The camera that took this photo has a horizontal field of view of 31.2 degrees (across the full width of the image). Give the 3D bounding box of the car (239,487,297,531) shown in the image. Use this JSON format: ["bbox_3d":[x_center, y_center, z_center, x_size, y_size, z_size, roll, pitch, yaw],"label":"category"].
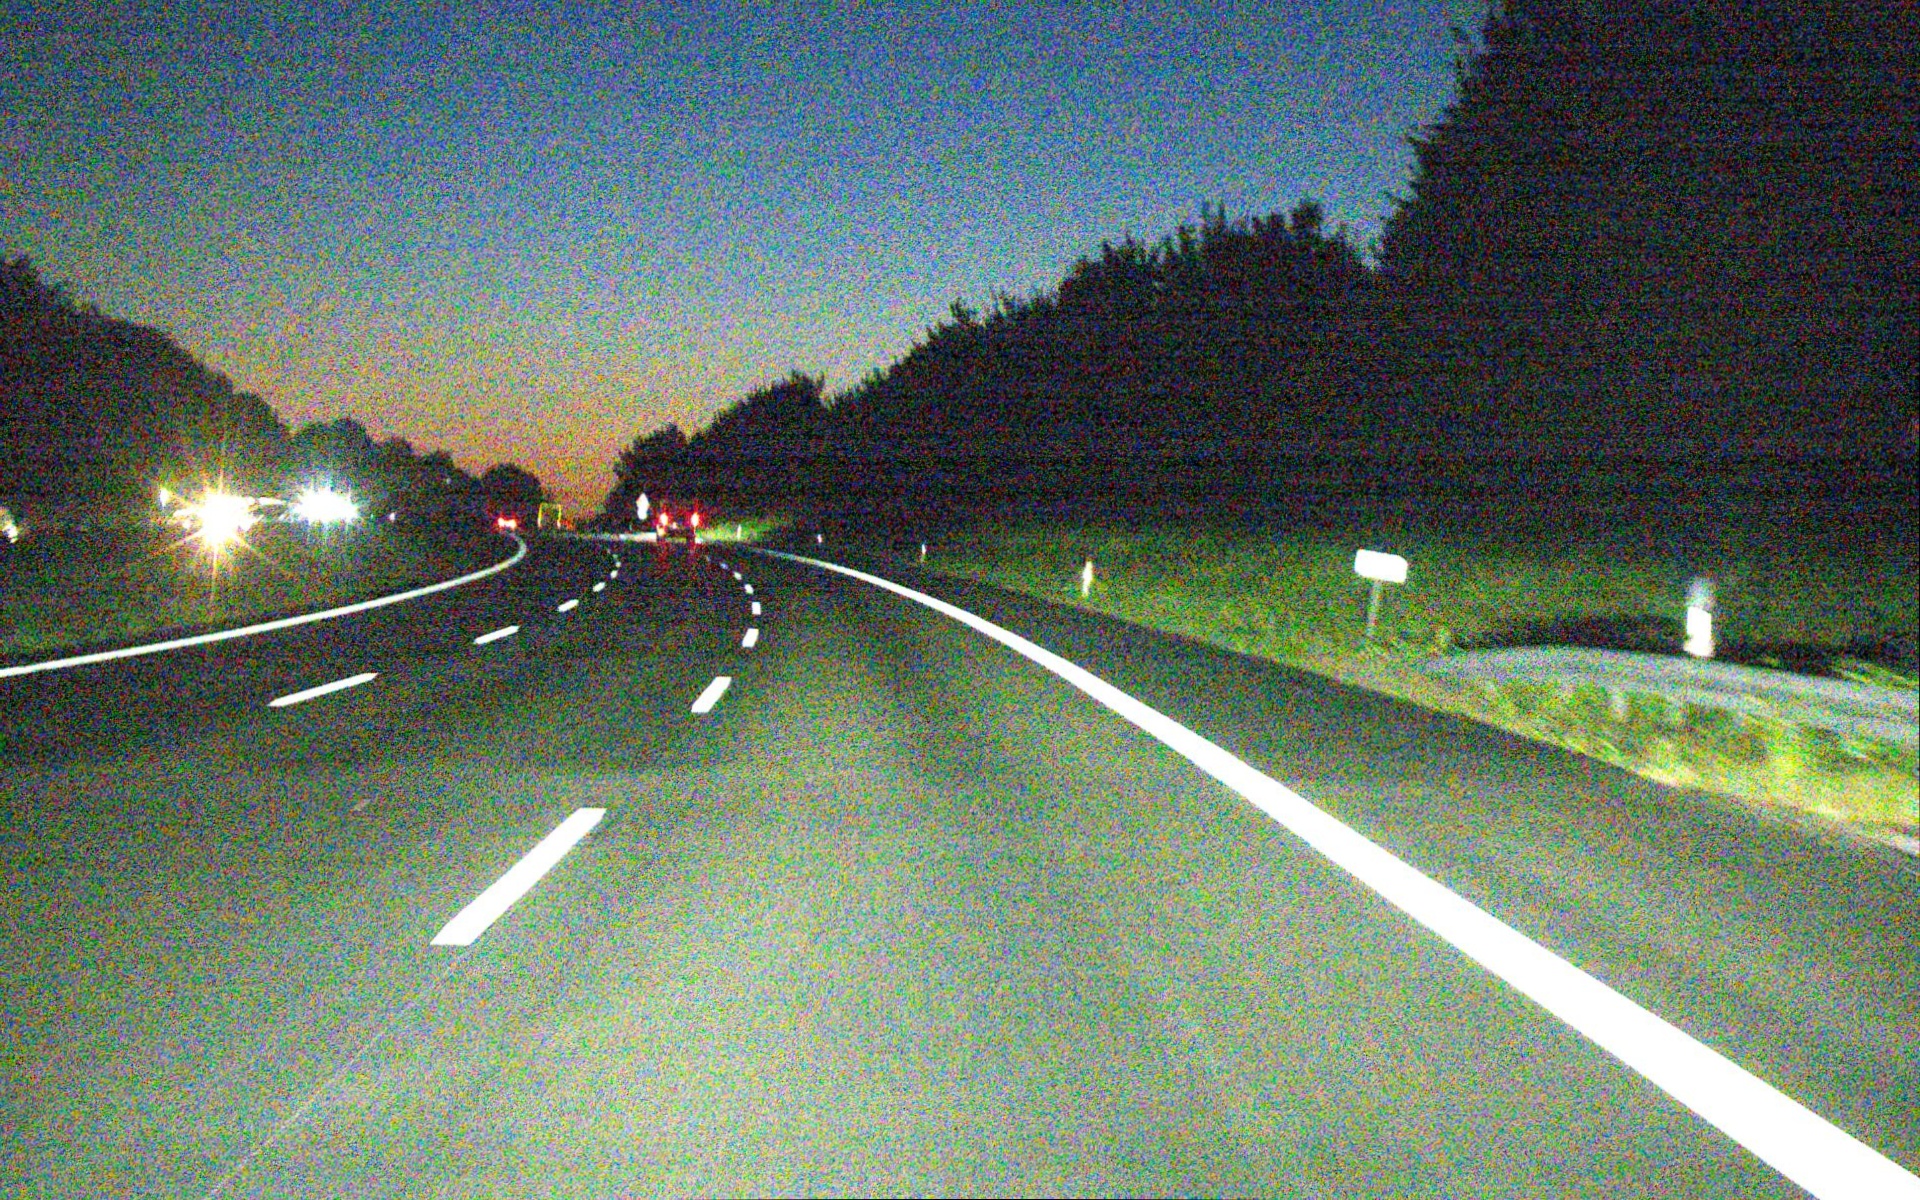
[{"bbox_3d":[-29.643,-3.921,147.321,1.993,1.848,4.078,1,2,-5],"label":"car"}]

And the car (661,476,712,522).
[{"bbox_3d":[-16.158,-5.963,202.657,2.527,2.544,6.053,3,1,-8],"label":"car"}]
